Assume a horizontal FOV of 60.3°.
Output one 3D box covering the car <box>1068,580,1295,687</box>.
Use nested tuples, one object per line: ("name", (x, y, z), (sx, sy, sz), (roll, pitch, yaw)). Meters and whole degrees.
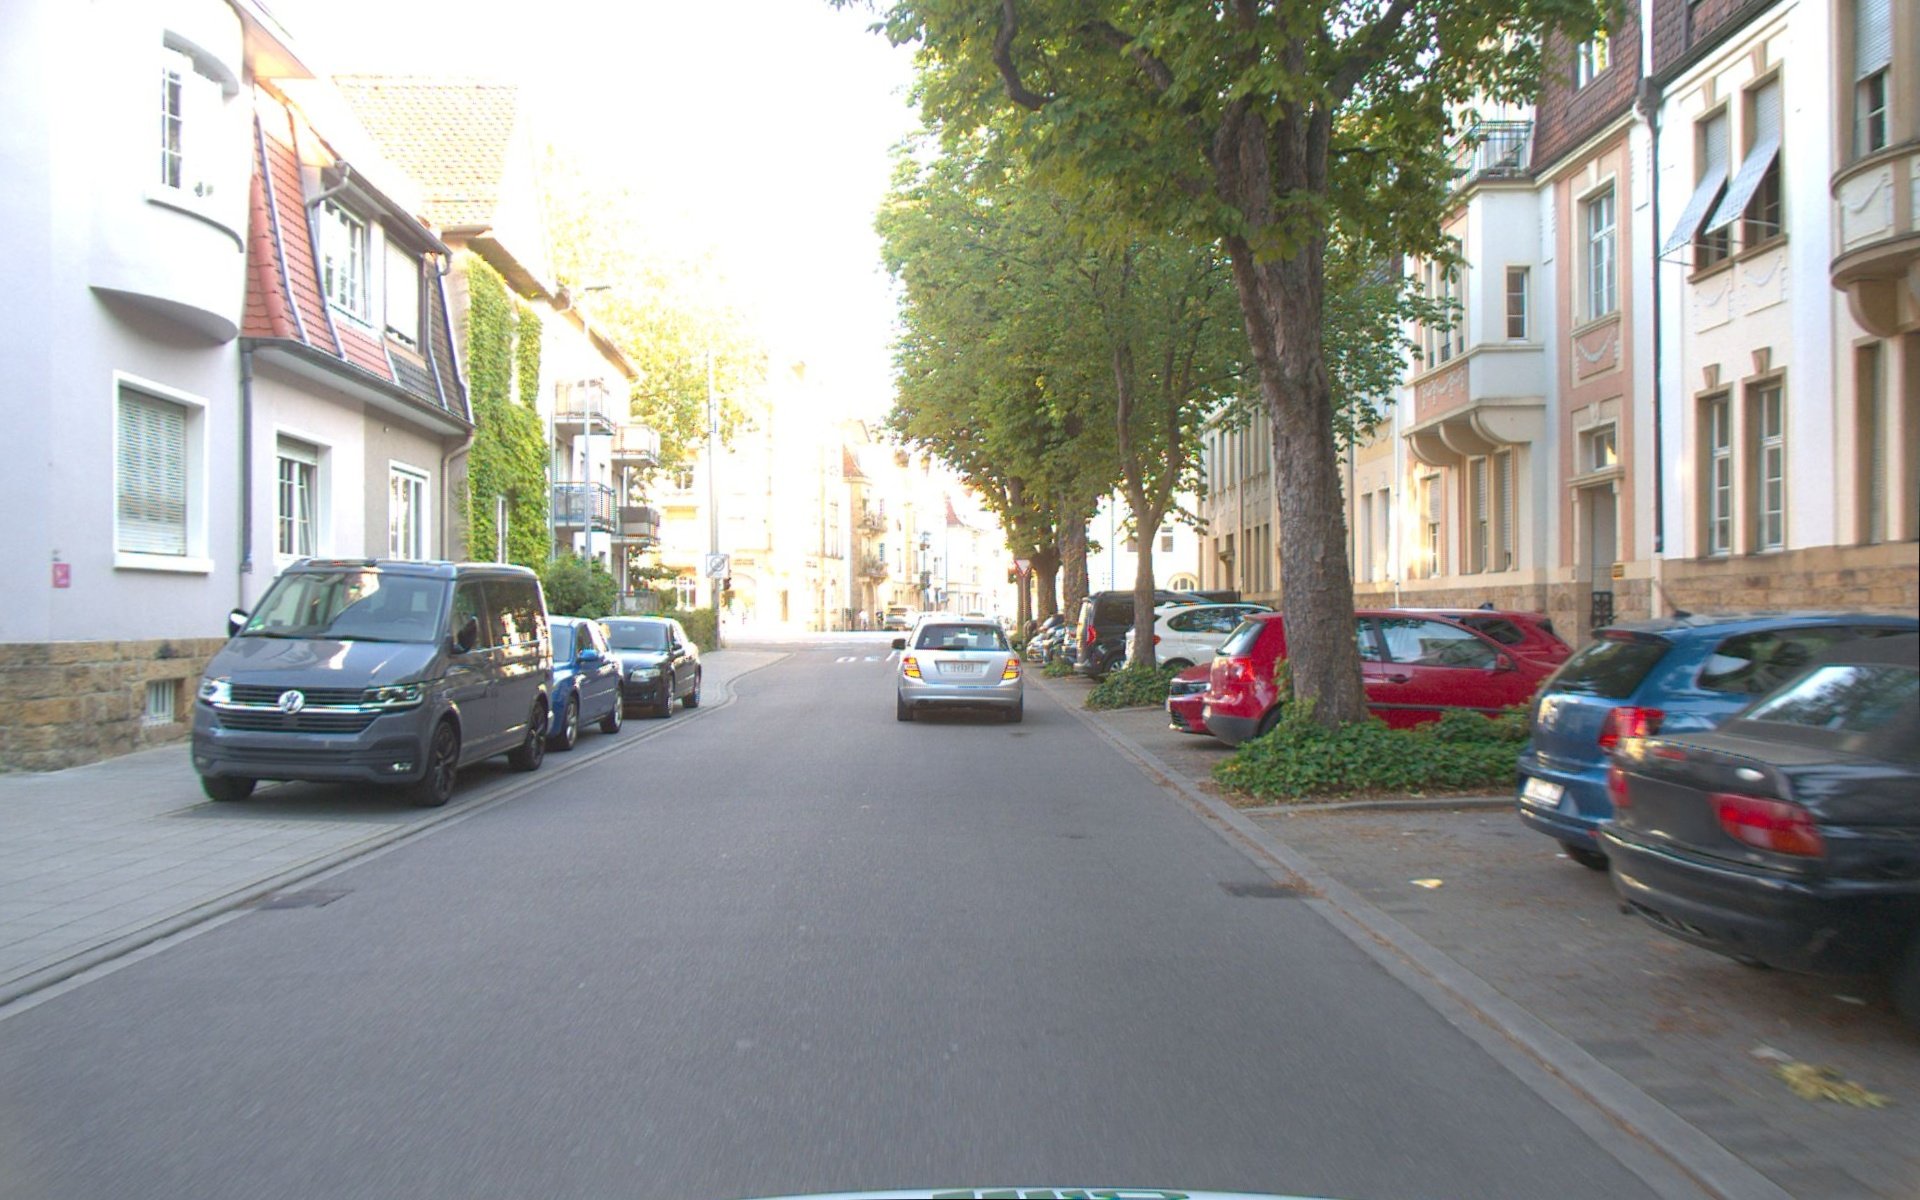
("car", (4.330, 0.654, 32.754), (4.135, 1.929, 1.904), (-2, -1, -3))

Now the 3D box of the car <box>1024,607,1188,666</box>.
("car", (3.929, 0.981, 44.931), (4.202, 1.442, 1.876), (-2, 0, -3))

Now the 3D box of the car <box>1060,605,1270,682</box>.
("car", (4.324, 0.901, 35.301), (4.202, 1.568, 1.876), (0, 0, -3))

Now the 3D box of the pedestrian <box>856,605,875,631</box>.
("pedestrian", (-6.644, 1.251, 116.214), (1.195, 1.752, 1.504), (1, -1, 2))

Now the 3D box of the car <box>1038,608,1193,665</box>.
("car", (4.421, 1.017, 47.385), (4.202, 1.568, 1.898), (0, 0, -3))

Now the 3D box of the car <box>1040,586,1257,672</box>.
("car", (4.506, 0.676, 40.019), (4.952, 2.024, 2.071), (0, 0, -3))

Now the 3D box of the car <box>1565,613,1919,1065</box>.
("car", (4.509, 0.779, 6.338), (3.716, 1.463, 1.817), (0, -1, -1))

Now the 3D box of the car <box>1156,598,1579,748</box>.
("car", (4.492, 0.795, 18.759), (4.320, 1.444, 1.877), (-2, -1, 2))

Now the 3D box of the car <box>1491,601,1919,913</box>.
("car", (4.933, 0.766, 8.806), (3.714, 1.509, 1.561), (0, -1, 1))

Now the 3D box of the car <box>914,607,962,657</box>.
("car", (-0.716, 1.065, 56.238), (1.590, 1.597, 3.680), (0, 0, 0))

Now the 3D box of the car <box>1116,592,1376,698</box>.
("car", (4.780, 0.745, 28.033), (4.027, 1.599, 1.876), (-2, -1, -1))

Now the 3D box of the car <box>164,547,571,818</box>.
("car", (-4.972, 0.619, 14.725), (1.942, 1.982, 4.850), (1, 0, -1))

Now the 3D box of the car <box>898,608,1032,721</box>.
("car", (0.060, 0.877, 23.659), (1.747, 1.462, 3.850), (1, -1, 0))

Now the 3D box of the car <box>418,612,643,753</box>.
("car", (-5.080, 0.915, 20.117), (1.620, 1.472, 4.237), (1, 0, 0))

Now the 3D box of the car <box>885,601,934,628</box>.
("car", (-3.075, 0.859, 101.533), (1.951, 1.613, 4.003), (0, 0, 15))

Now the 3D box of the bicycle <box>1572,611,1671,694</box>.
("bicycle", (9.081, 0.698, 22.788), (0.464, 1.075, 2.044), (-2, 0, -2))

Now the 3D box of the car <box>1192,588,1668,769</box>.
("car", (4.453, 0.734, 16.160), (4.103, 1.501, 1.852), (-2, -1, 2))

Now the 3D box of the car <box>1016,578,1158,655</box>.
("car", (4.025, 0.524, 52.848), (4.301, 2.406, 1.999), (0, 0, -3))

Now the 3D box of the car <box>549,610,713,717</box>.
("car", (-4.981, 0.910, 25.587), (1.660, 1.472, 4.357), (1, 0, 0))
